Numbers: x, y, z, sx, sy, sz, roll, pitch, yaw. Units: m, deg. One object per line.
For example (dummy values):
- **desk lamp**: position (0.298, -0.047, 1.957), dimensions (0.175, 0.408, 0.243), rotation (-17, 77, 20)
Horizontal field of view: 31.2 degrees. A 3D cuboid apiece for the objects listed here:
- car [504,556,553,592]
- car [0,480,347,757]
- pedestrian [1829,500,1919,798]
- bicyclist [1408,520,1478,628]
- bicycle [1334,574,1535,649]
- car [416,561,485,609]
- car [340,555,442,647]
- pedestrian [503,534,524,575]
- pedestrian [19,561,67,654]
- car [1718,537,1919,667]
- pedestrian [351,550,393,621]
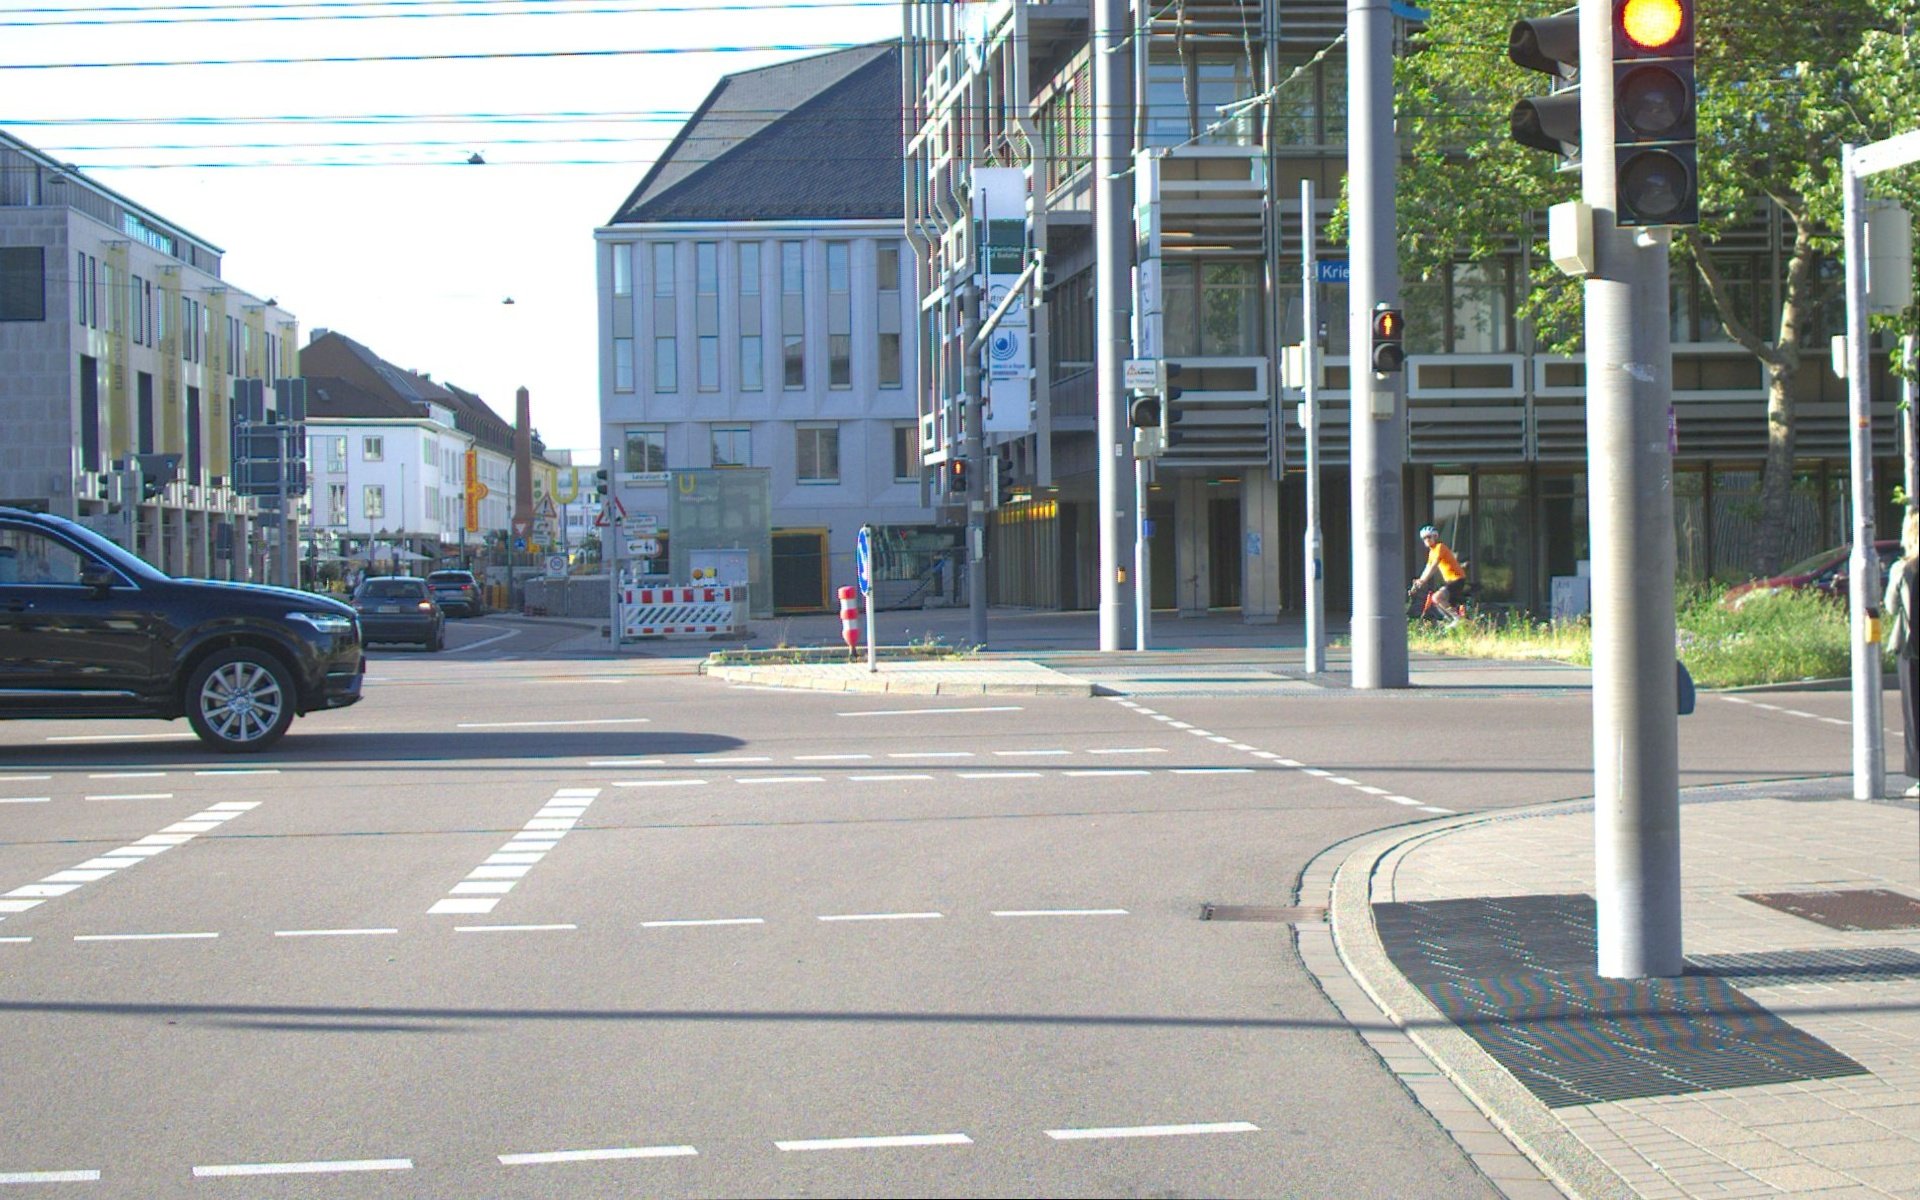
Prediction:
- **car**: position (-18.319, -1.108, 145.965), dimensions (1.658, 1.453, 3.542), rotation (-1, 1, -1)
- **car**: position (-6.813, 0.122, 24.113), dimensions (4.815, 1.857, 1.887), rotation (-1, 1, -14)
- **pedestrian**: position (5.312, 0.253, 19.006), dimensions (0.765, 1.608, 0.874), rotation (-1, 1, -2)
- **bicyclist**: position (6.622, -0.359, 47.130), dimensions (0.822, 1.469, 0.652), rotation (-1, 1, -4)
- **bicycle**: position (6.484, 0.149, 47.122), dimensions (2.568, 0.972, 1.047), rotation (-1, 1, -3)
- **car**: position (-16.008, -0.486, 108.084), dimensions (1.658, 1.453, 3.542), rotation (-1, 1, -1)
- **car**: position (-10.926, -0.006, 65.858), dimensions (1.819, 1.678, 4.001), rotation (-1, 1, -11)
- **pedestrian**: position (-21.382, -2.164, 164.691), dimensions (0.910, 1.958, 0.823), rotation (1, 0, -1)
- **pedestrian**: position (-16.848, 0.135, 63.181), dimensions (0.700, 1.682, 0.619), rotation (-1, 1, 0)
- **car**: position (12.638, -0.007, 46.465), dimensions (4.287, 1.678, 1.826), rotation (-1, 1, -10)
- **pedestrian**: position (-14.896, -0.368, 87.130), dimensions (0.899, 1.776, 0.808), rotation (-1, 1, -1)
